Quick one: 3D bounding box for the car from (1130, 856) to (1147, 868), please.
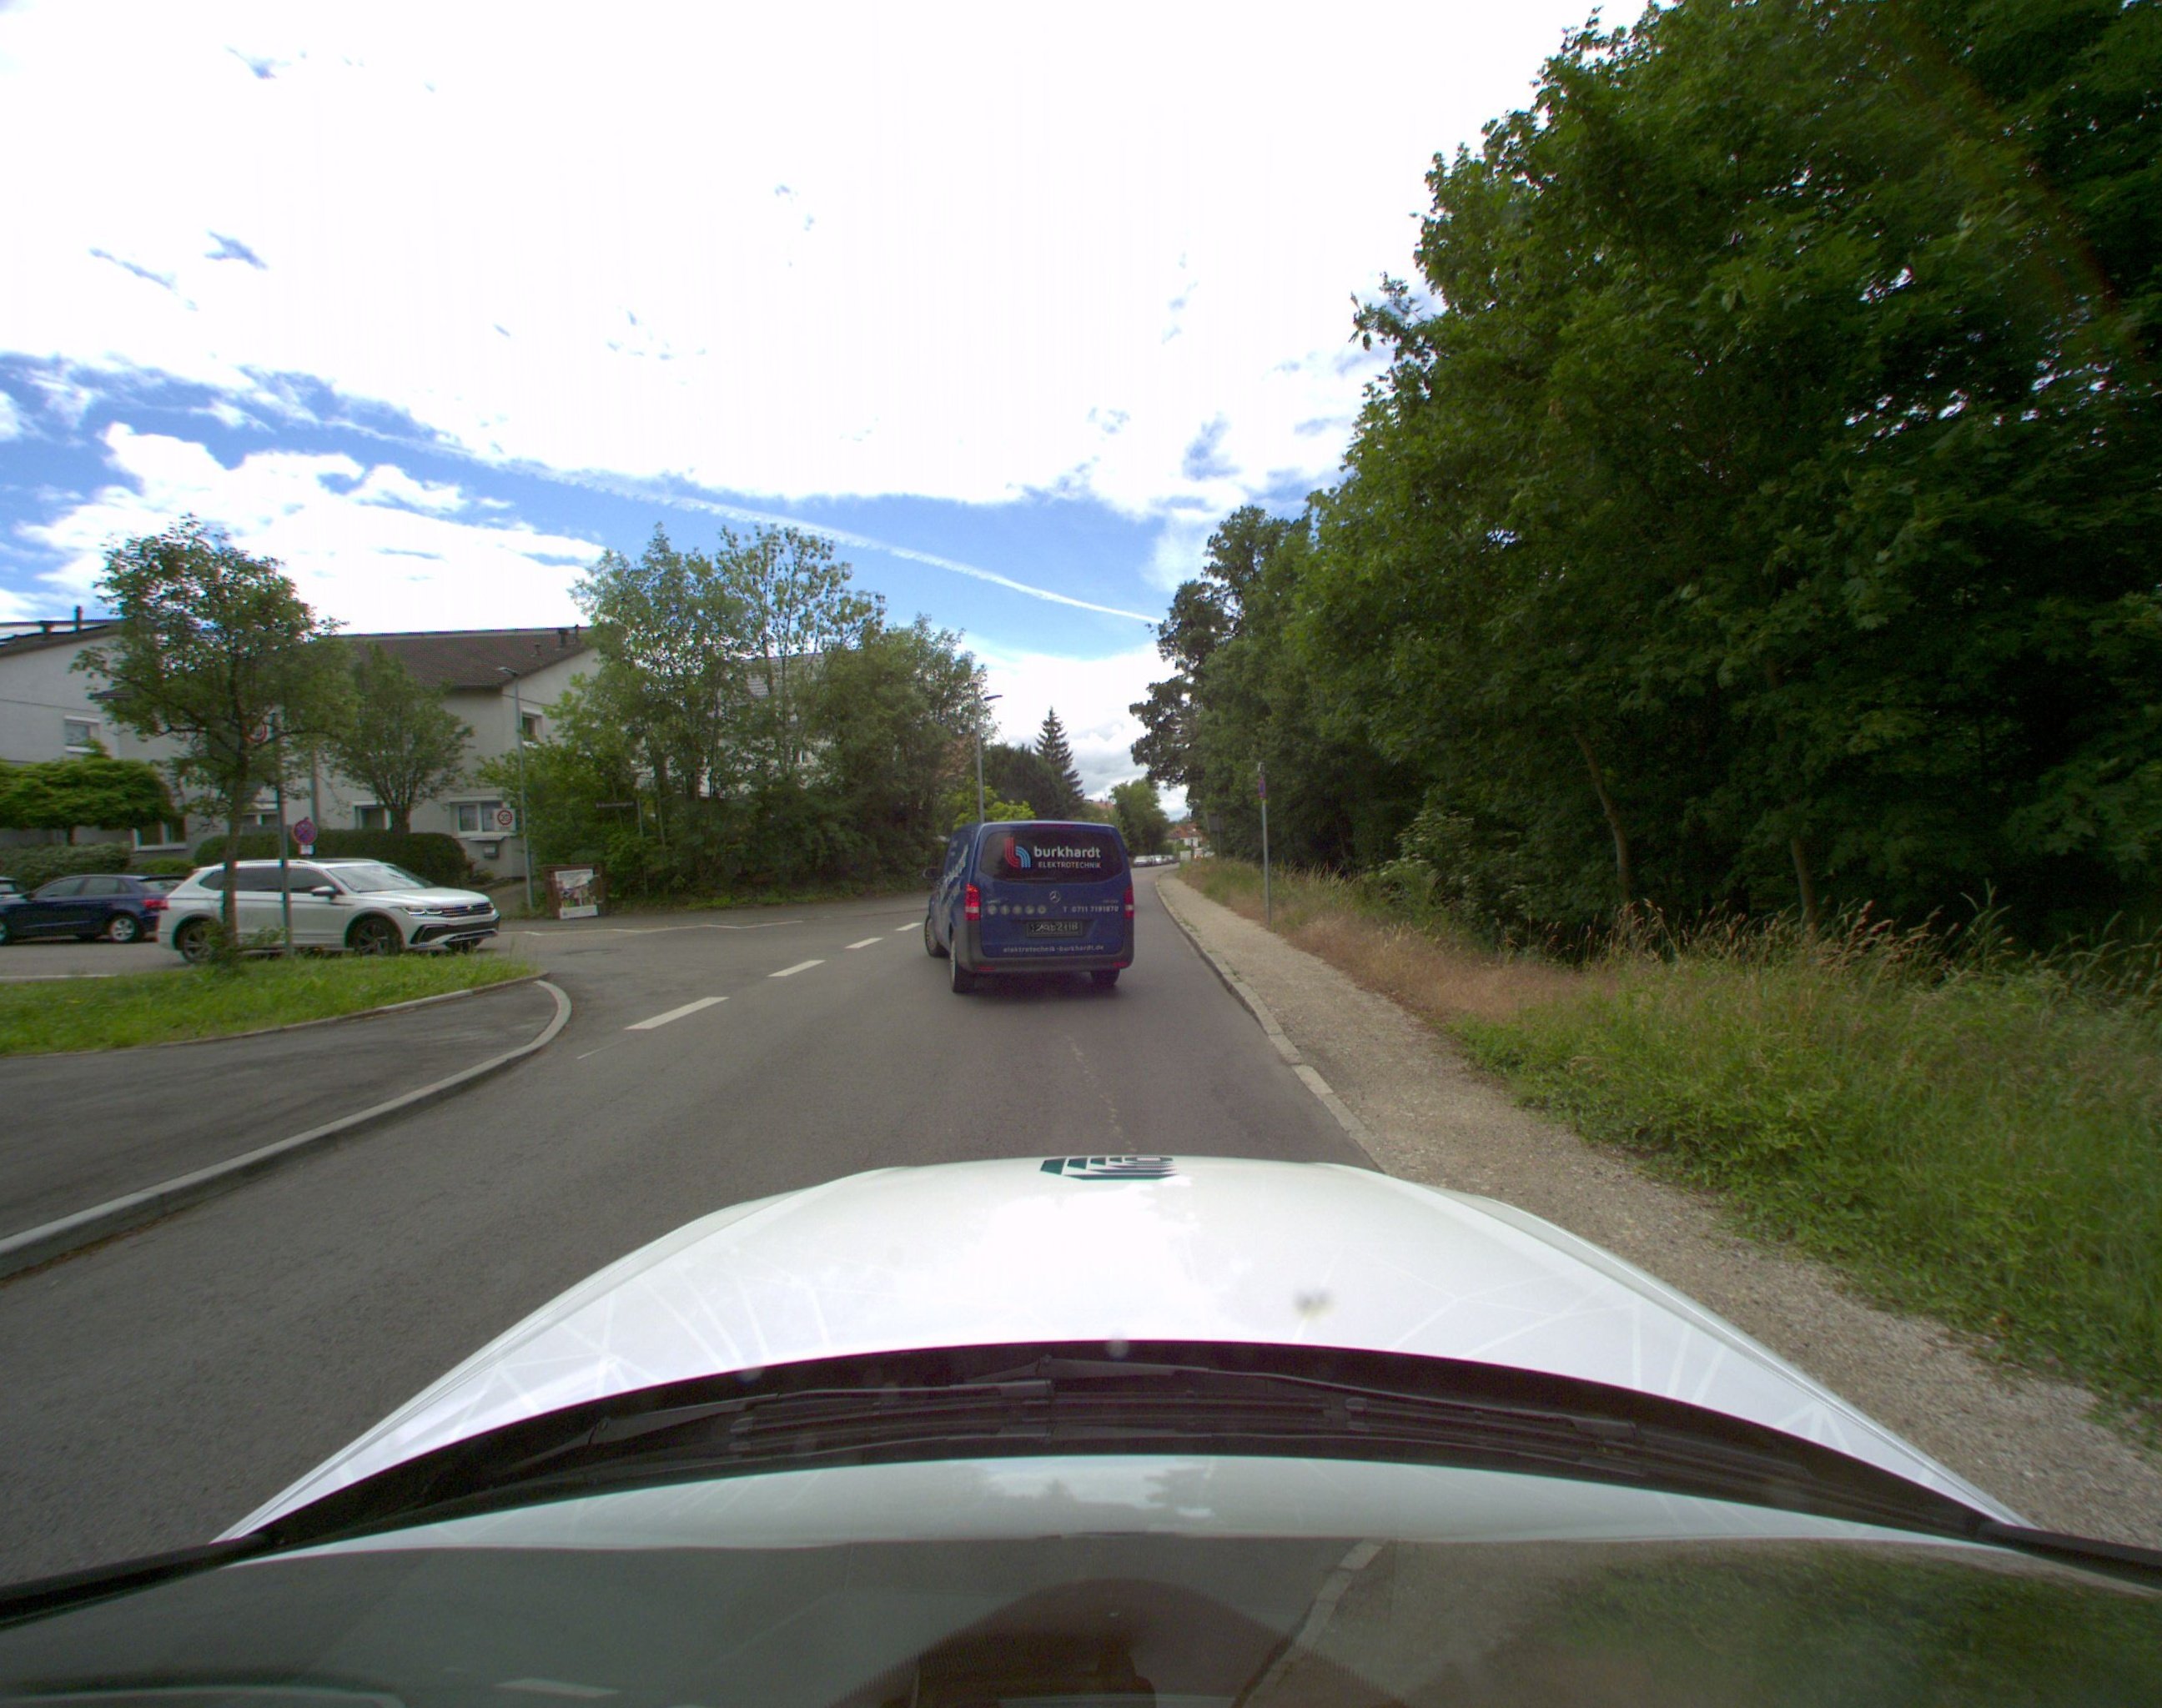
[{"bbox_3d":[7.225,0.974,101.932,1.738,1.404,4.011,-1,0,10],"label":"car"}]

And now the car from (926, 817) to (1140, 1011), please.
[{"bbox_3d":[-0.865,0.557,10.361,1.939,1.880,4.509,-1,1,-14],"label":"car"}]

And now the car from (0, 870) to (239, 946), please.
[{"bbox_3d":[-20.255,1.089,16.954,3.533,1.412,1.669,-1,0,-4],"label":"car"}]

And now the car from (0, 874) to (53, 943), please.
[{"bbox_3d":[-24.464,1.178,17.070,3.772,1.412,1.530,-1,0,-1],"label":"car"}]

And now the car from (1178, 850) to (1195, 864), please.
[{"bbox_3d":[15.627,0.423,120.476,2.193,2.063,6.151,-1,0,9],"label":"car"}]

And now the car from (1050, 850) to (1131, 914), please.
[{"bbox_3d":[0.343,0.648,20.858,1.726,1.447,4.186,-1,0,5],"label":"car"}]

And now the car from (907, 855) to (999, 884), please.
[{"bbox_3d":[-6.833,0.818,43.690,4.457,1.441,1.882,-1,0,7],"label":"car"}]

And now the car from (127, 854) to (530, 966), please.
[{"bbox_3d":[-12.458,0.878,13.733,4.917,1.670,2.038,-1,0,1],"label":"car"}]

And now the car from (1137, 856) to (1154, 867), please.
[{"bbox_3d":[8.573,0.963,107.997,1.738,1.404,4.011,-1,0,10],"label":"car"}]

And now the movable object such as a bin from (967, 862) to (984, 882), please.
[{"bbox_3d":[-4.988,0.859,38.635,0.587,0.909,0.702,-1,0,10],"label":"movable object such as a bin"}]

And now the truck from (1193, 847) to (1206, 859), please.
[{"bbox_3d":[28.102,-0.302,192.632,2.746,2.793,9.295,-1,0,10],"label":"truck"}]

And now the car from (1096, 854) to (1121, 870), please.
[{"bbox_3d":[2.550,0.686,74.198,1.738,1.404,4.011,-1,0,10],"label":"car"}]

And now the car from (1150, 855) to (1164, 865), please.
[{"bbox_3d":[11.271,0.885,120.634,1.738,1.404,4.011,-1,0,10],"label":"car"}]

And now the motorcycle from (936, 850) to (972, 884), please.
[{"bbox_3d":[-5.677,0.567,36.580,0.805,1.485,2.901,-1,0,6],"label":"motorcycle"}]
